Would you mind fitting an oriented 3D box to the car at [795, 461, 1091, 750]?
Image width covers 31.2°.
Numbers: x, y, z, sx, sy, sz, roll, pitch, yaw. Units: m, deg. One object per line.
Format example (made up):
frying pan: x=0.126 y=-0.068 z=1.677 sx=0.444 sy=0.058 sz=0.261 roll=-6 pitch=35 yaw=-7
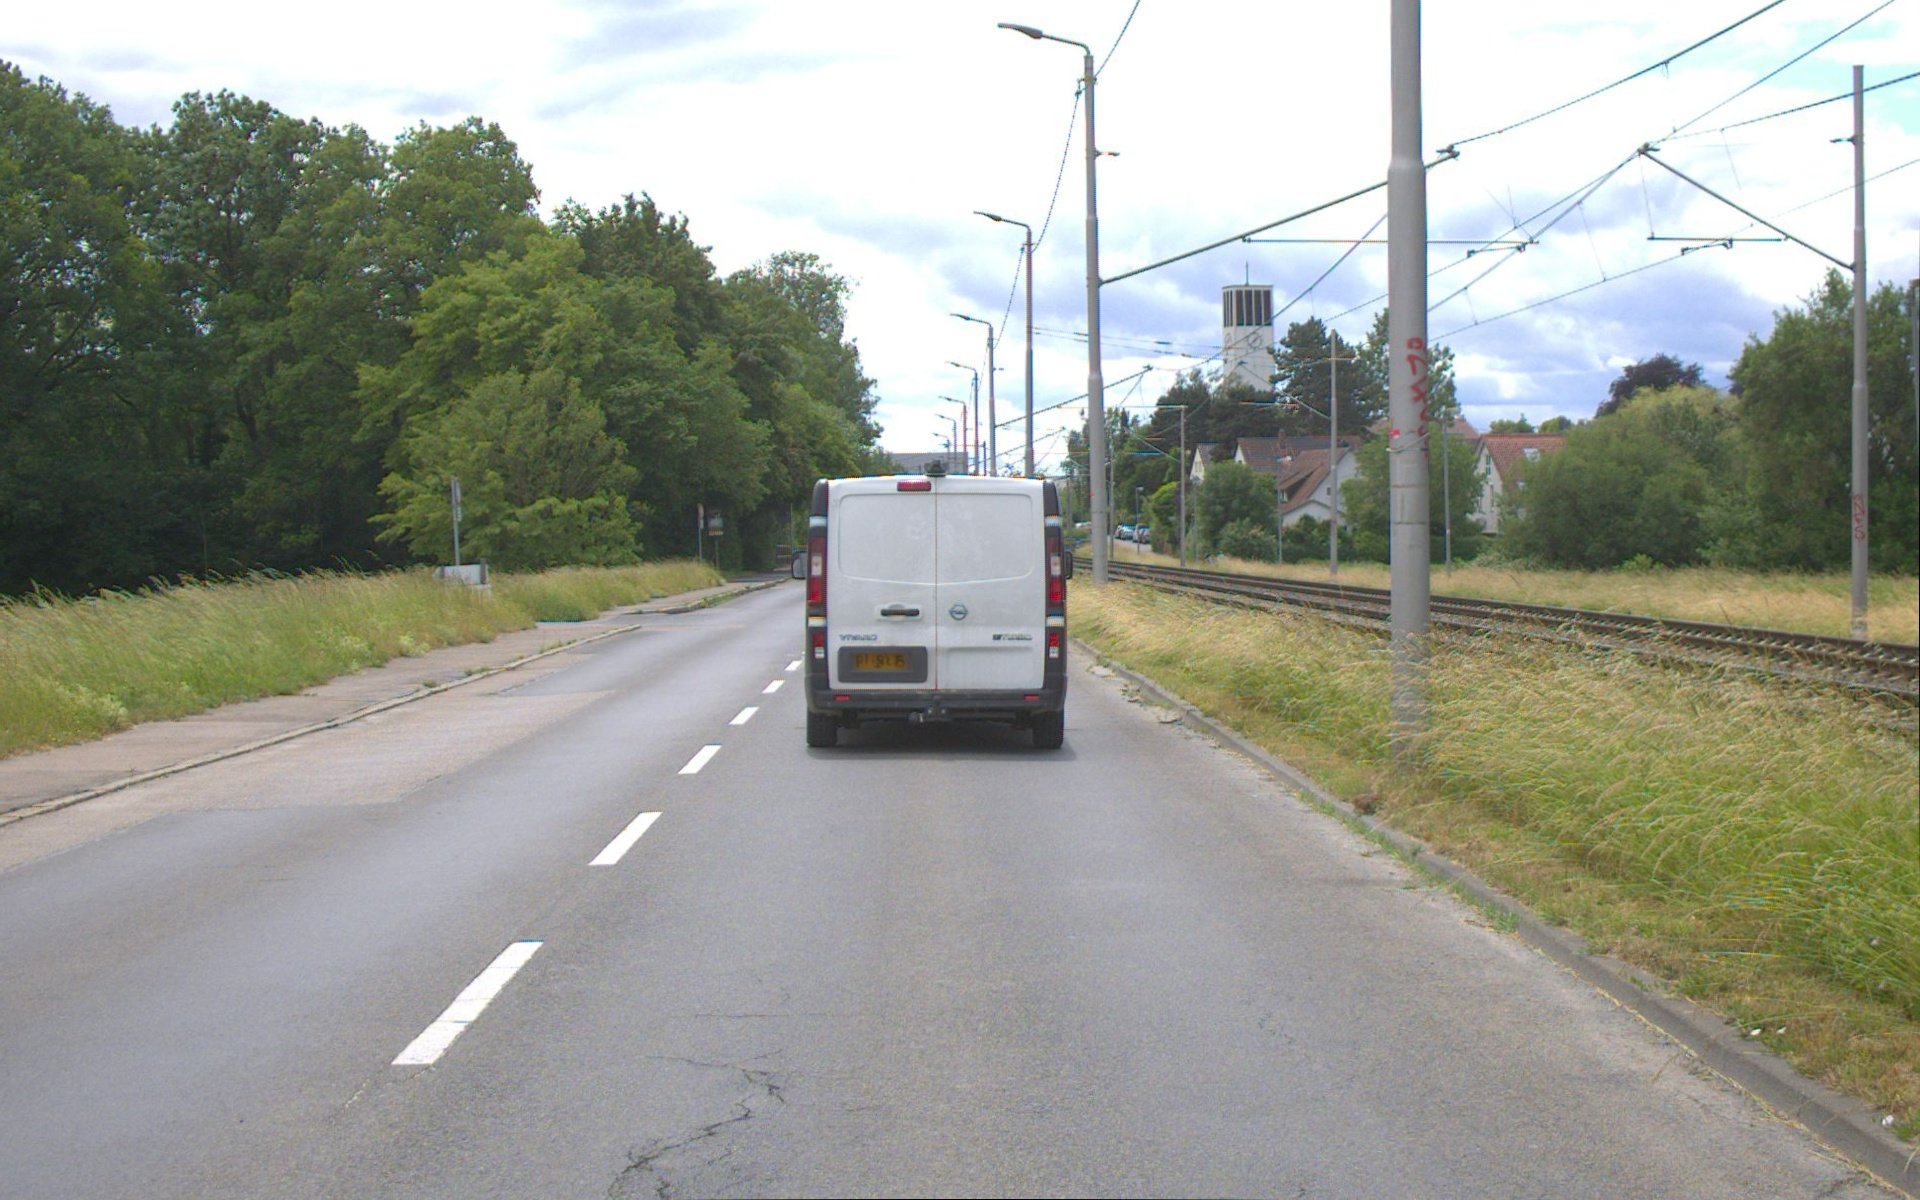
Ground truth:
car: x=-0.178 y=0.012 z=25.477 sx=1.993 sy=1.950 sz=4.000 roll=1 pitch=1 yaw=-2
